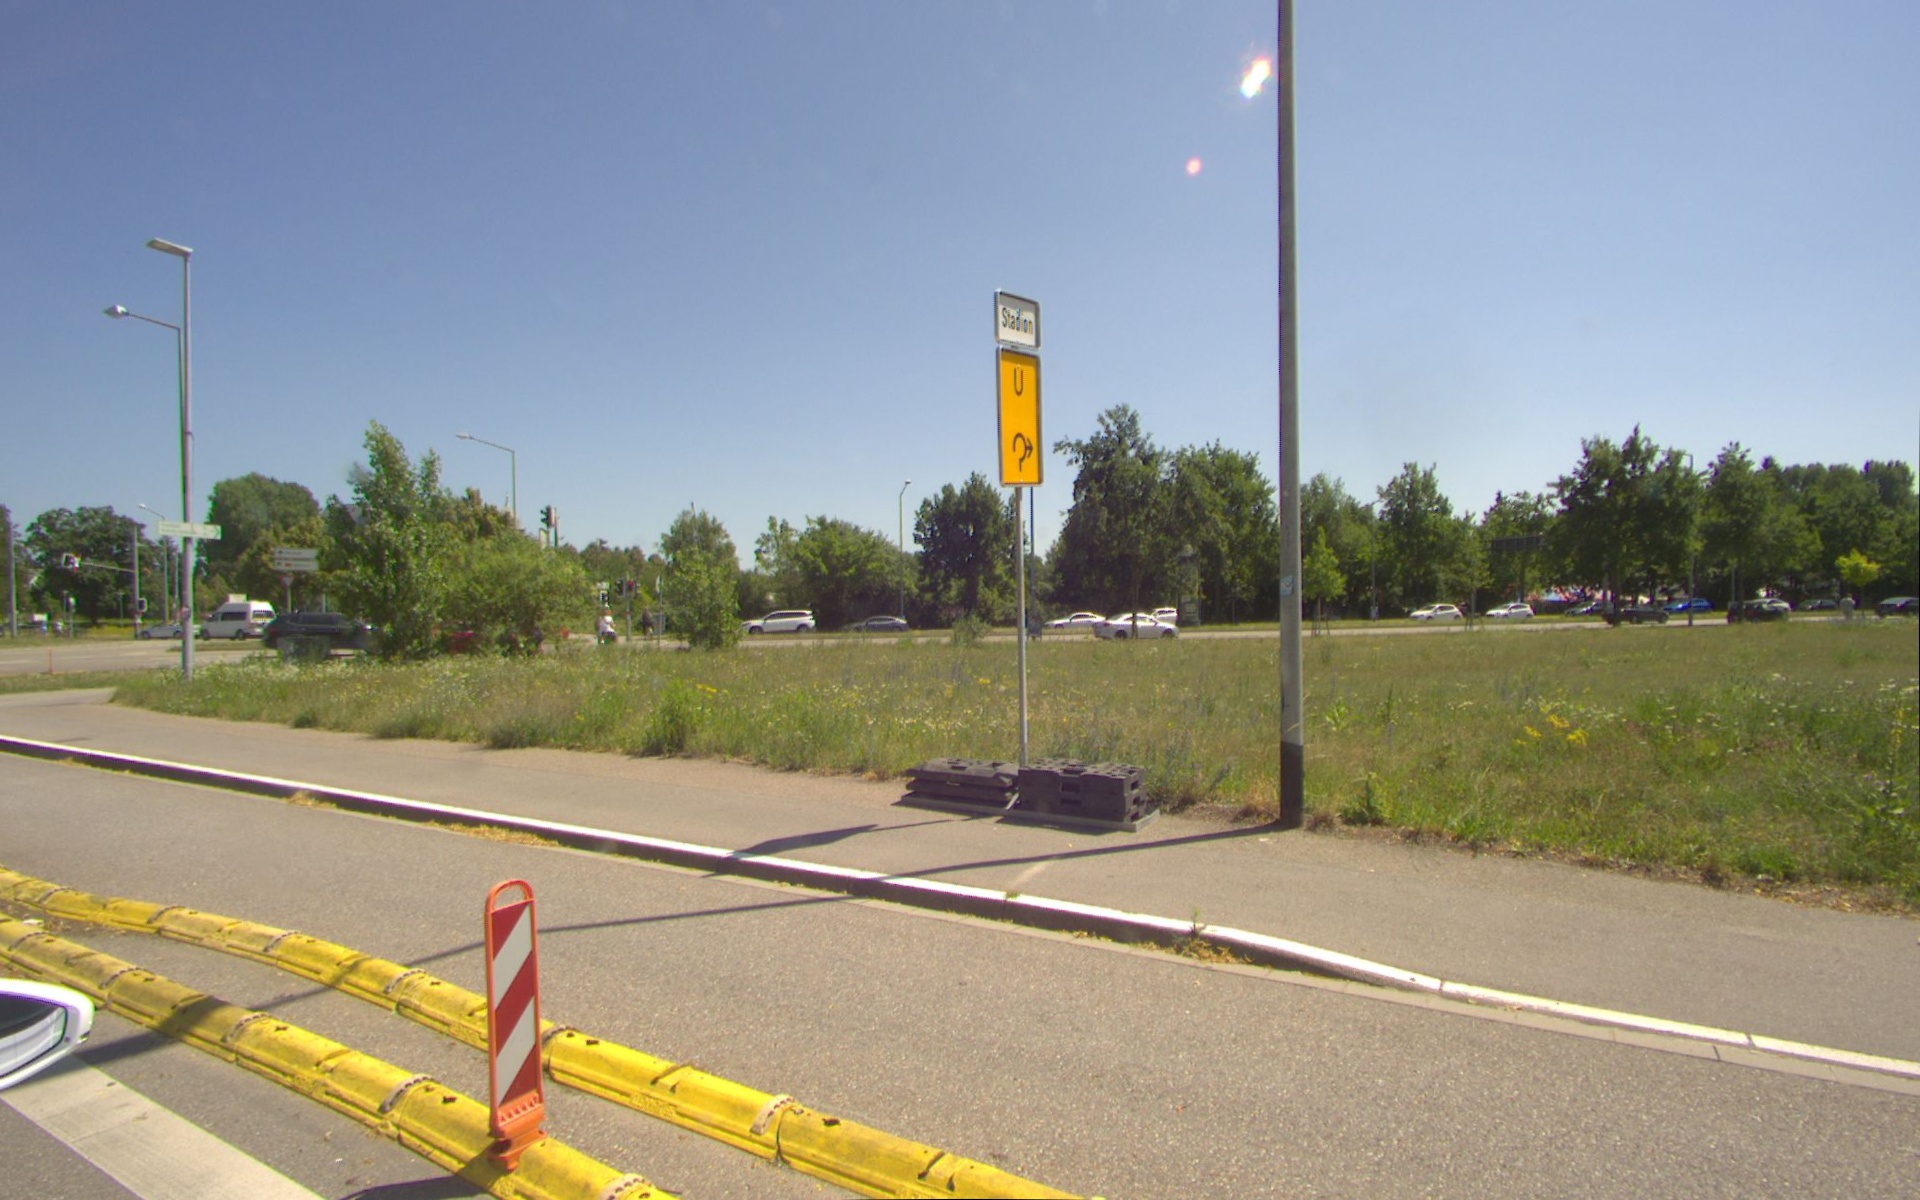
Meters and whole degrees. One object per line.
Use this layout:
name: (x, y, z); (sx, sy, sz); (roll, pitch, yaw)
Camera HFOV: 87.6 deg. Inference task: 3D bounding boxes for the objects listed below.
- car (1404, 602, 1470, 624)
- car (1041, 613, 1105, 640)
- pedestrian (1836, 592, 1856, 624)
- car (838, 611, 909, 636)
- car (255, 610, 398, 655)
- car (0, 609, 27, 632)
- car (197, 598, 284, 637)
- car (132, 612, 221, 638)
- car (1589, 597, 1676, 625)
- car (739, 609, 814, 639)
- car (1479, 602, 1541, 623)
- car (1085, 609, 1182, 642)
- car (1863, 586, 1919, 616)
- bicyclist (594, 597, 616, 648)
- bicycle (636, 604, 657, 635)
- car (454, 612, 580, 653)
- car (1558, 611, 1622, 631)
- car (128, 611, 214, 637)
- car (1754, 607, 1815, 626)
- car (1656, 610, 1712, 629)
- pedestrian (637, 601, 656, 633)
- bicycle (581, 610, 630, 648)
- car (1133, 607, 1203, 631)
car: (35.808, 1.008, 75.196); (4.366, 1.612, 1.846); (0, -2, -16)
car: (7.870, 1.837, 69.741); (4.074, 1.840, 1.662); (0, -2, -15)
pedestrian: (45.726, 0.422, 51.673); (0.548, 1.611, 0.662); (1, -1, -32)
car: (-5.665, 1.533, 65.716); (4.366, 1.612, 1.846); (0, -2, -16)
car: (-24.592, 1.230, 38.977); (4.377, 1.616, 1.980); (0, 0, -45)
car: (-69.548, 1.488, 71.202); (4.258, 1.634, 1.877); (1, -2, -21)
car: (-46.167, 1.160, 64.242); (5.236, 2.427, 1.990); (-1, -2, 21)
car: (-59.961, 1.924, 76.663); (5.224, 1.986, 1.995); (0, -2, 0)
car: (43.399, 0.731, 64.615); (5.241, 1.758, 1.995); (1, -2, -21)
car: (-11.193, 1.470, 60.989); (4.366, 1.758, 1.846); (0, -2, -16)
car: (44.615, 1.004, 81.227); (4.365, 1.613, 1.845); (0, 0, -16)
car: (8.592, 1.234, 49.618); (4.344, 1.547, 1.995); (0, 0, -20)
car: (65.619, 0.108, 69.818); (4.564, 1.961, 1.996); (1, -2, -19)
bicyclist: (-13.165, 0.837, 37.170); (0.597, 1.864, 0.572); (0, -1, 2)
bicycle: (-16.765, 1.057, 53.566); (0.967, 1.617, 2.879); (0, -2, -16)
car: (-17.154, 1.269, 39.027); (4.345, 1.546, 1.996); (1, -2, -21)
car: (49.699, 1.670, 79.037); (4.366, 1.612, 1.846); (0, -2, -16)
car: (-60.363, 1.863, 76.612); (5.225, 1.986, 1.995); (0, -2, 6)
car: (69.871, 1.404, 84.903); (4.366, 1.612, 1.846); (0, -2, -16)
car: (62.316, 1.702, 86.224); (3.927, 1.558, 1.764); (0, -2, -14)
pedestrian: (-16.722, 0.922, 53.428); (0.954, 1.681, 0.885); (0, -1, -16)
bicycle: (-13.211, 1.107, 37.421); (0.628, 1.370, 2.896); (0, -2, 4)
car: (14.288, 1.305, 68.897); (4.366, 1.612, 1.846); (0, -2, -16)
